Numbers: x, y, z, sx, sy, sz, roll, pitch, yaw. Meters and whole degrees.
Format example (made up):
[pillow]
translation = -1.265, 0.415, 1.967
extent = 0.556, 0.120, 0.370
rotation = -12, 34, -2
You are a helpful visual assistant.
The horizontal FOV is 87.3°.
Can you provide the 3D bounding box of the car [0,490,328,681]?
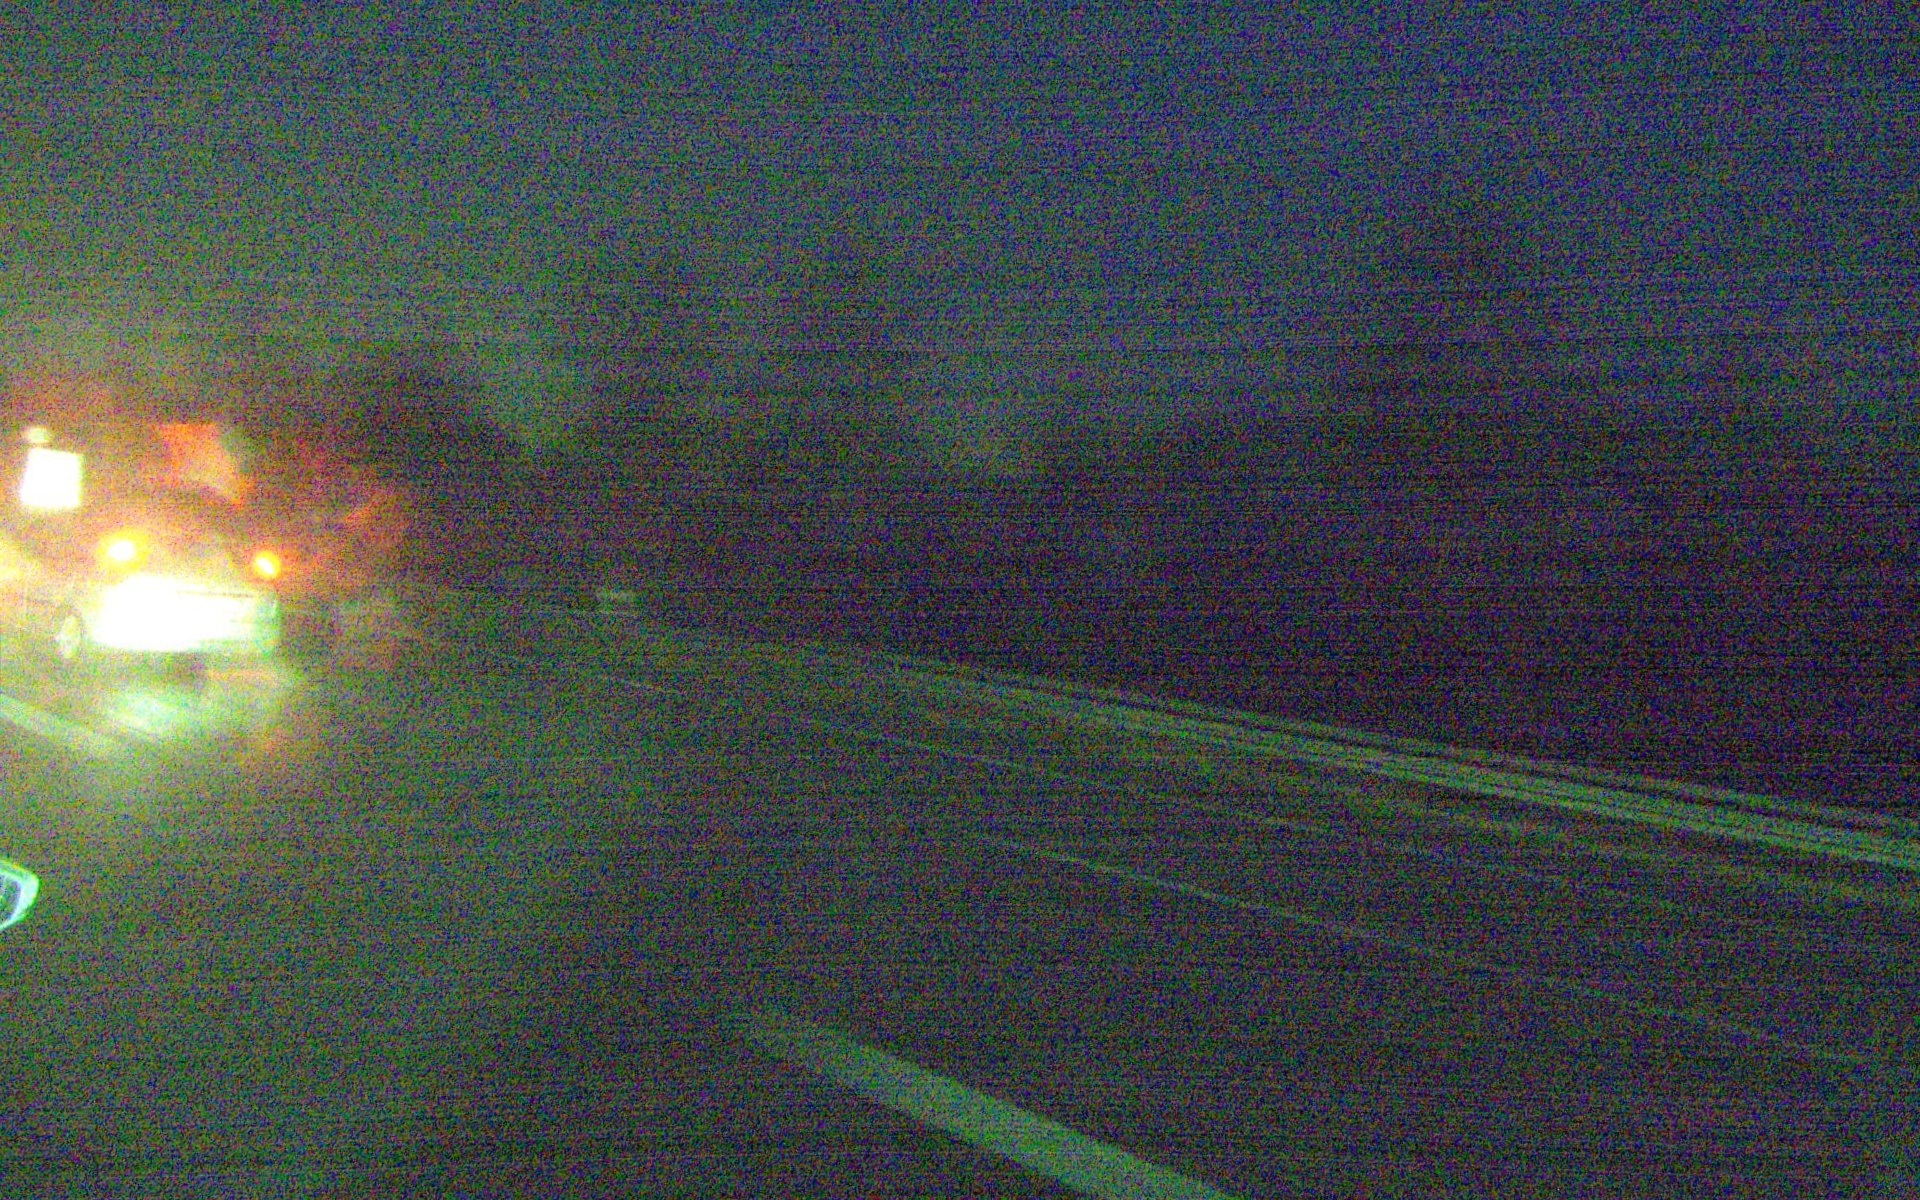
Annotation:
[car]
translation = -8.644, -0.211, 10.361
extent = 4.124, 1.474, 1.773
rotation = 7, -1, 30
